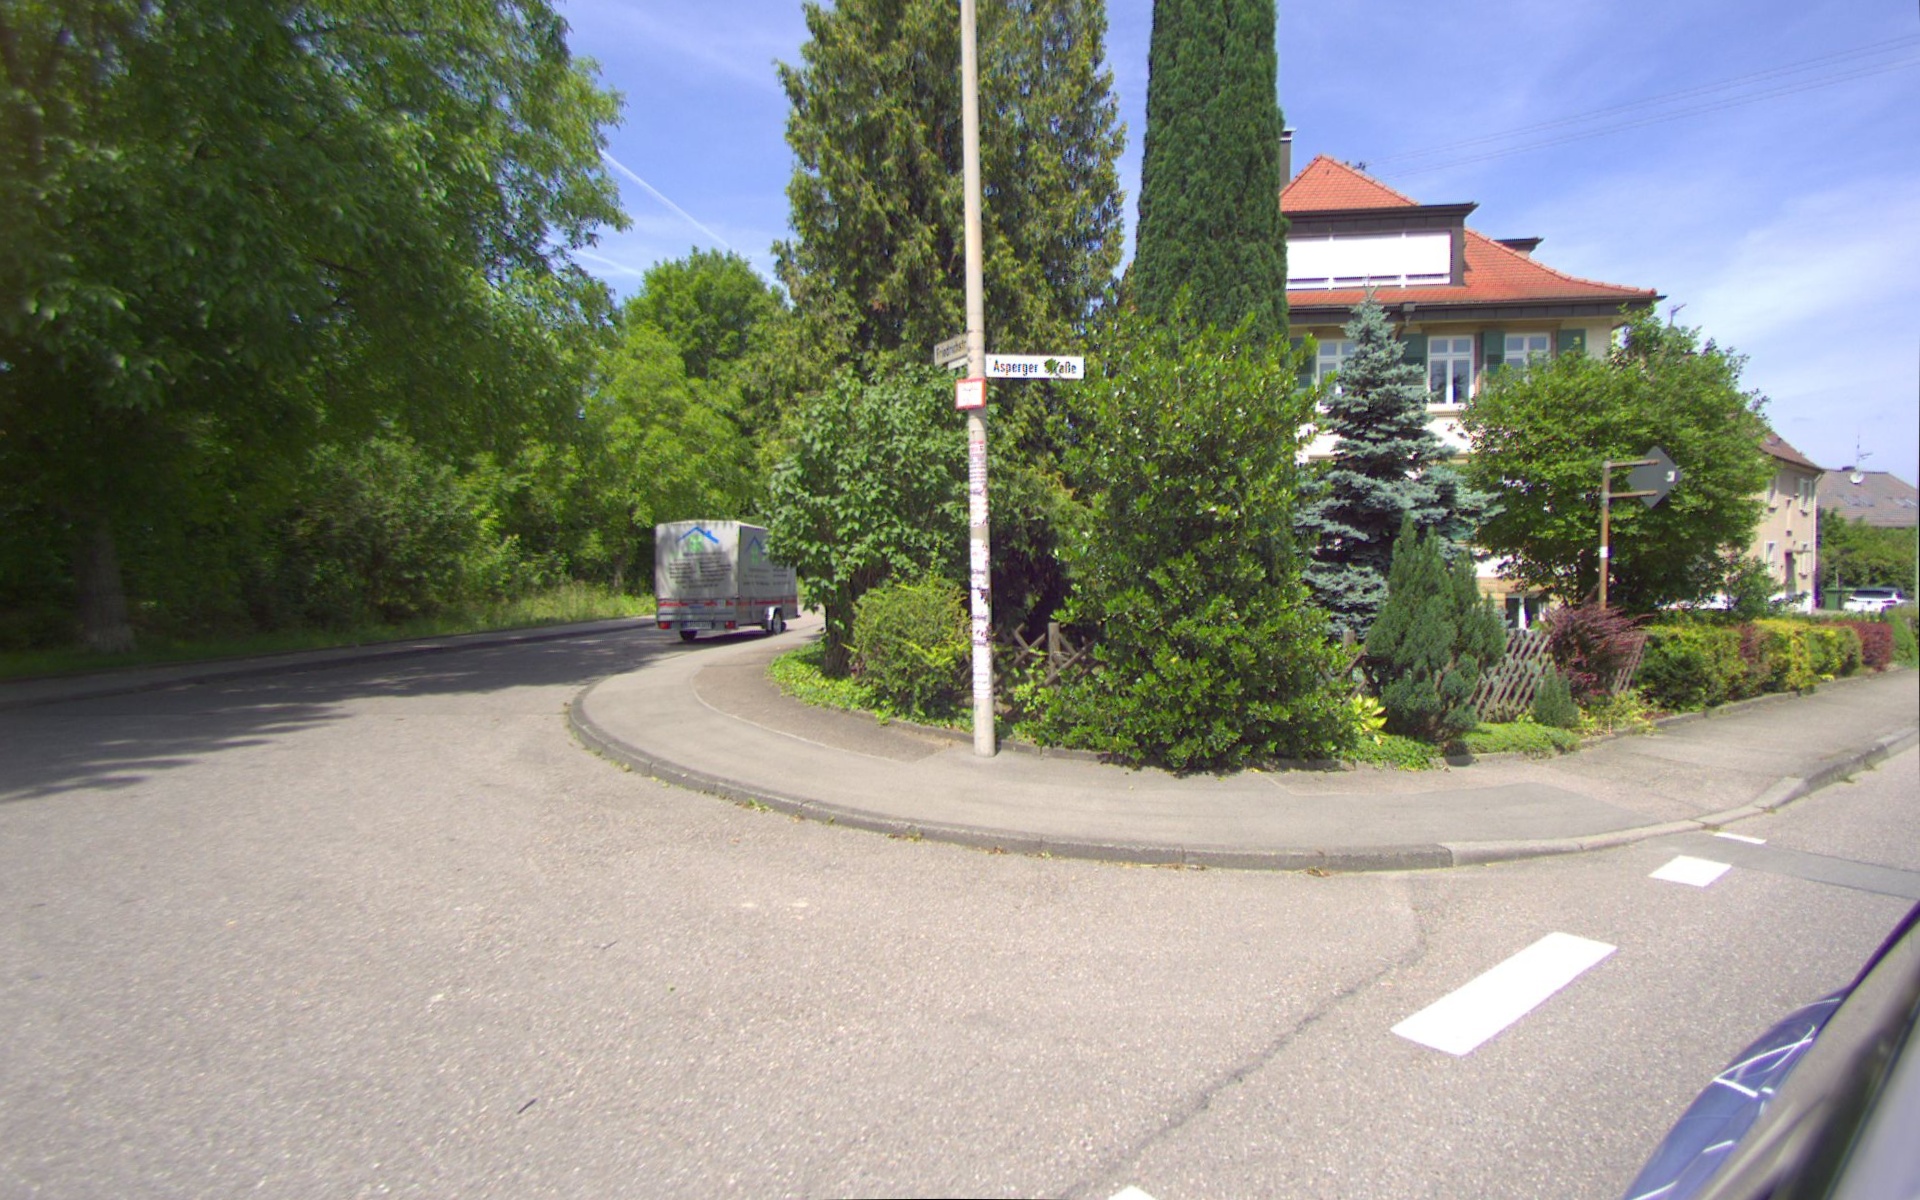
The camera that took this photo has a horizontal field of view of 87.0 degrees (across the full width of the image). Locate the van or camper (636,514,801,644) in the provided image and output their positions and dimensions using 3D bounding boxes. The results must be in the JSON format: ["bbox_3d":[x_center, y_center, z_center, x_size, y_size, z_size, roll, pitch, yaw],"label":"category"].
[{"bbox_3d":[-4.416,-0.406,19.030,1.790,2.166,3.380,-2,1,9],"label":"van or camper"}]

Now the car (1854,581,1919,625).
[{"bbox_3d":[37.103,0.086,40.449,3.499,1.500,1.608,-4,4,-41],"label":"car"}]
